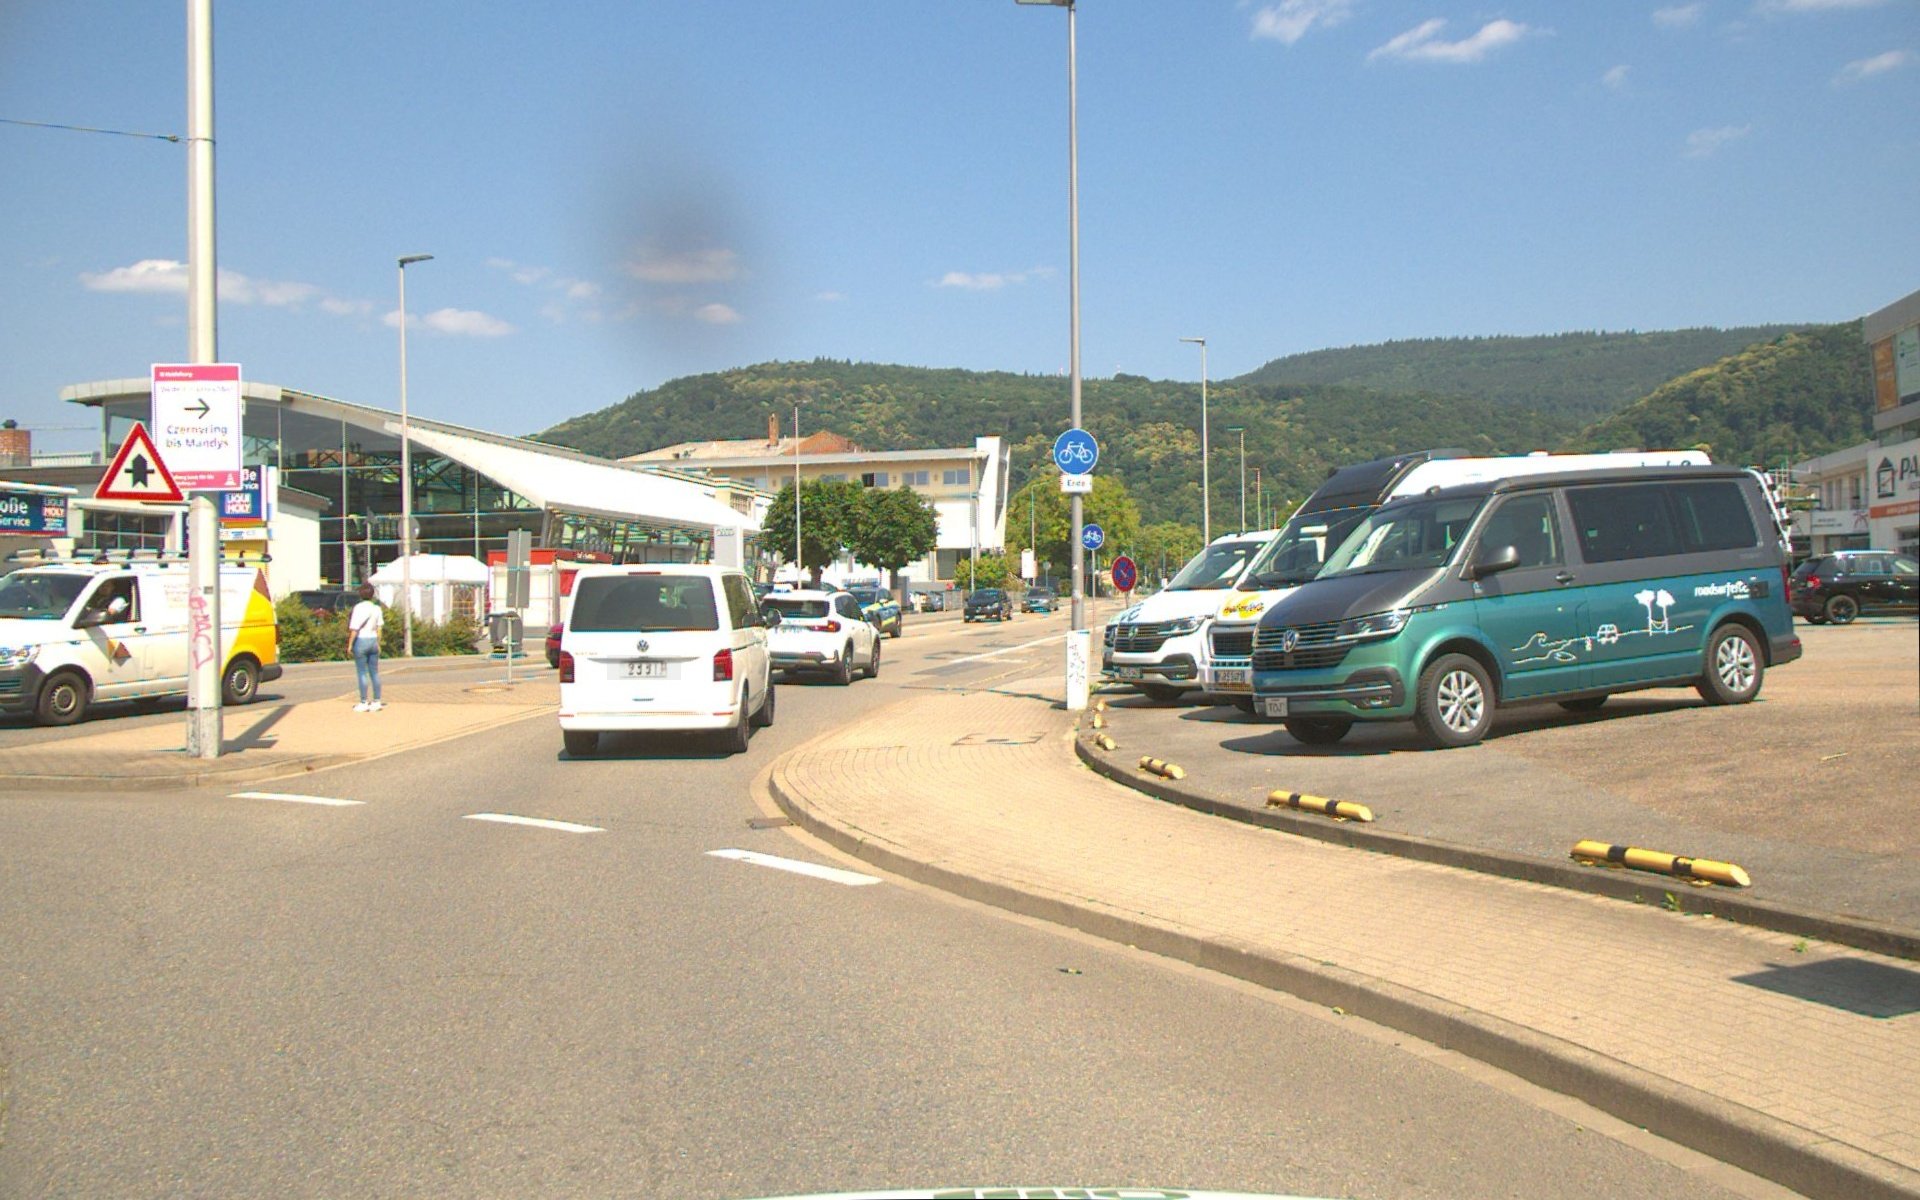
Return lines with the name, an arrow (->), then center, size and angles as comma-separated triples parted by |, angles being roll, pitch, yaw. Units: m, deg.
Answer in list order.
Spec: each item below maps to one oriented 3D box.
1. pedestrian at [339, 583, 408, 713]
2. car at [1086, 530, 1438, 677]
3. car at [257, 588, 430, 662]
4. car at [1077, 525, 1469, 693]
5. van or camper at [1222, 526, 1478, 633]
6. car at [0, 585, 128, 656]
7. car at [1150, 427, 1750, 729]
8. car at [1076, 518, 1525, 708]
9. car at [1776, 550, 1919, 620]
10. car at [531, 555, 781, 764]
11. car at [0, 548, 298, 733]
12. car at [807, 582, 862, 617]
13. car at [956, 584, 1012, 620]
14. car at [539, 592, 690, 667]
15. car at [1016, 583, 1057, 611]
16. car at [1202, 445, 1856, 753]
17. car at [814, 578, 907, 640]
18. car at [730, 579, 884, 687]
pedestrian -> -7.819, 0.630, 22.034 | 0.751, 1.685, 0.666 | -1, 0, -30
car -> 4.722, 0.044, 25.996 | 5.062, 2.131, 2.039 | -1, -1, -18
car -> -14.810, 0.566, 39.981 | 1.951, 1.646, 4.003 | -1, 1, 15
car -> 4.362, 0.085, 23.103 | 5.054, 2.048, 1.921 | -2, 0, -18
van or camper -> 10.328, -0.516, 44.016 | 6.365, 2.606, 2.977 | -1, 0, 13
car -> -20.713, 0.440, 36.447 | 1.983, 1.451, 4.321 | -1, 1, 11
car -> 5.214, -0.287, 17.463 | 6.058, 2.764, 2.289 | -2, 0, -25
car -> 4.138, 0.109, 20.101 | 5.072, 2.035, 2.011 | -2, 0, -22
car -> 21.632, -0.375, 39.009 | 3.902, 1.545, 1.893 | -1, 0, 13
car -> -3.259, 0.536, 18.792 | 2.119, 2.048, 5.016 | 0, 1, -3
car -> -11.258, 0.424, 21.812 | 1.979, 2.151, 4.937 | 0, 1, 18
car -> -6.179, -0.018, 80.966 | 1.721, 1.612, 3.638 | -1, 0, -21
car -> 1.095, 0.068, 73.967 | 1.802, 1.489, 4.004 | -1, 1, 11
car -> -7.383, 0.642, 35.749 | 1.802, 1.490, 4.146 | -1, -1, 9
car -> 4.387, -0.169, 94.784 | 1.802, 1.489, 4.004 | -1, 1, 10
car -> 4.729, -0.074, 13.620 | 5.147, 2.150, 2.079 | -2, 0, -27
car -> -3.059, 0.243, 51.810 | 1.868, 1.791, 4.456 | -1, 1, 10
car -> -2.670, 0.529, 29.858 | 1.951, 1.737, 4.003 | 2, 1, 6
